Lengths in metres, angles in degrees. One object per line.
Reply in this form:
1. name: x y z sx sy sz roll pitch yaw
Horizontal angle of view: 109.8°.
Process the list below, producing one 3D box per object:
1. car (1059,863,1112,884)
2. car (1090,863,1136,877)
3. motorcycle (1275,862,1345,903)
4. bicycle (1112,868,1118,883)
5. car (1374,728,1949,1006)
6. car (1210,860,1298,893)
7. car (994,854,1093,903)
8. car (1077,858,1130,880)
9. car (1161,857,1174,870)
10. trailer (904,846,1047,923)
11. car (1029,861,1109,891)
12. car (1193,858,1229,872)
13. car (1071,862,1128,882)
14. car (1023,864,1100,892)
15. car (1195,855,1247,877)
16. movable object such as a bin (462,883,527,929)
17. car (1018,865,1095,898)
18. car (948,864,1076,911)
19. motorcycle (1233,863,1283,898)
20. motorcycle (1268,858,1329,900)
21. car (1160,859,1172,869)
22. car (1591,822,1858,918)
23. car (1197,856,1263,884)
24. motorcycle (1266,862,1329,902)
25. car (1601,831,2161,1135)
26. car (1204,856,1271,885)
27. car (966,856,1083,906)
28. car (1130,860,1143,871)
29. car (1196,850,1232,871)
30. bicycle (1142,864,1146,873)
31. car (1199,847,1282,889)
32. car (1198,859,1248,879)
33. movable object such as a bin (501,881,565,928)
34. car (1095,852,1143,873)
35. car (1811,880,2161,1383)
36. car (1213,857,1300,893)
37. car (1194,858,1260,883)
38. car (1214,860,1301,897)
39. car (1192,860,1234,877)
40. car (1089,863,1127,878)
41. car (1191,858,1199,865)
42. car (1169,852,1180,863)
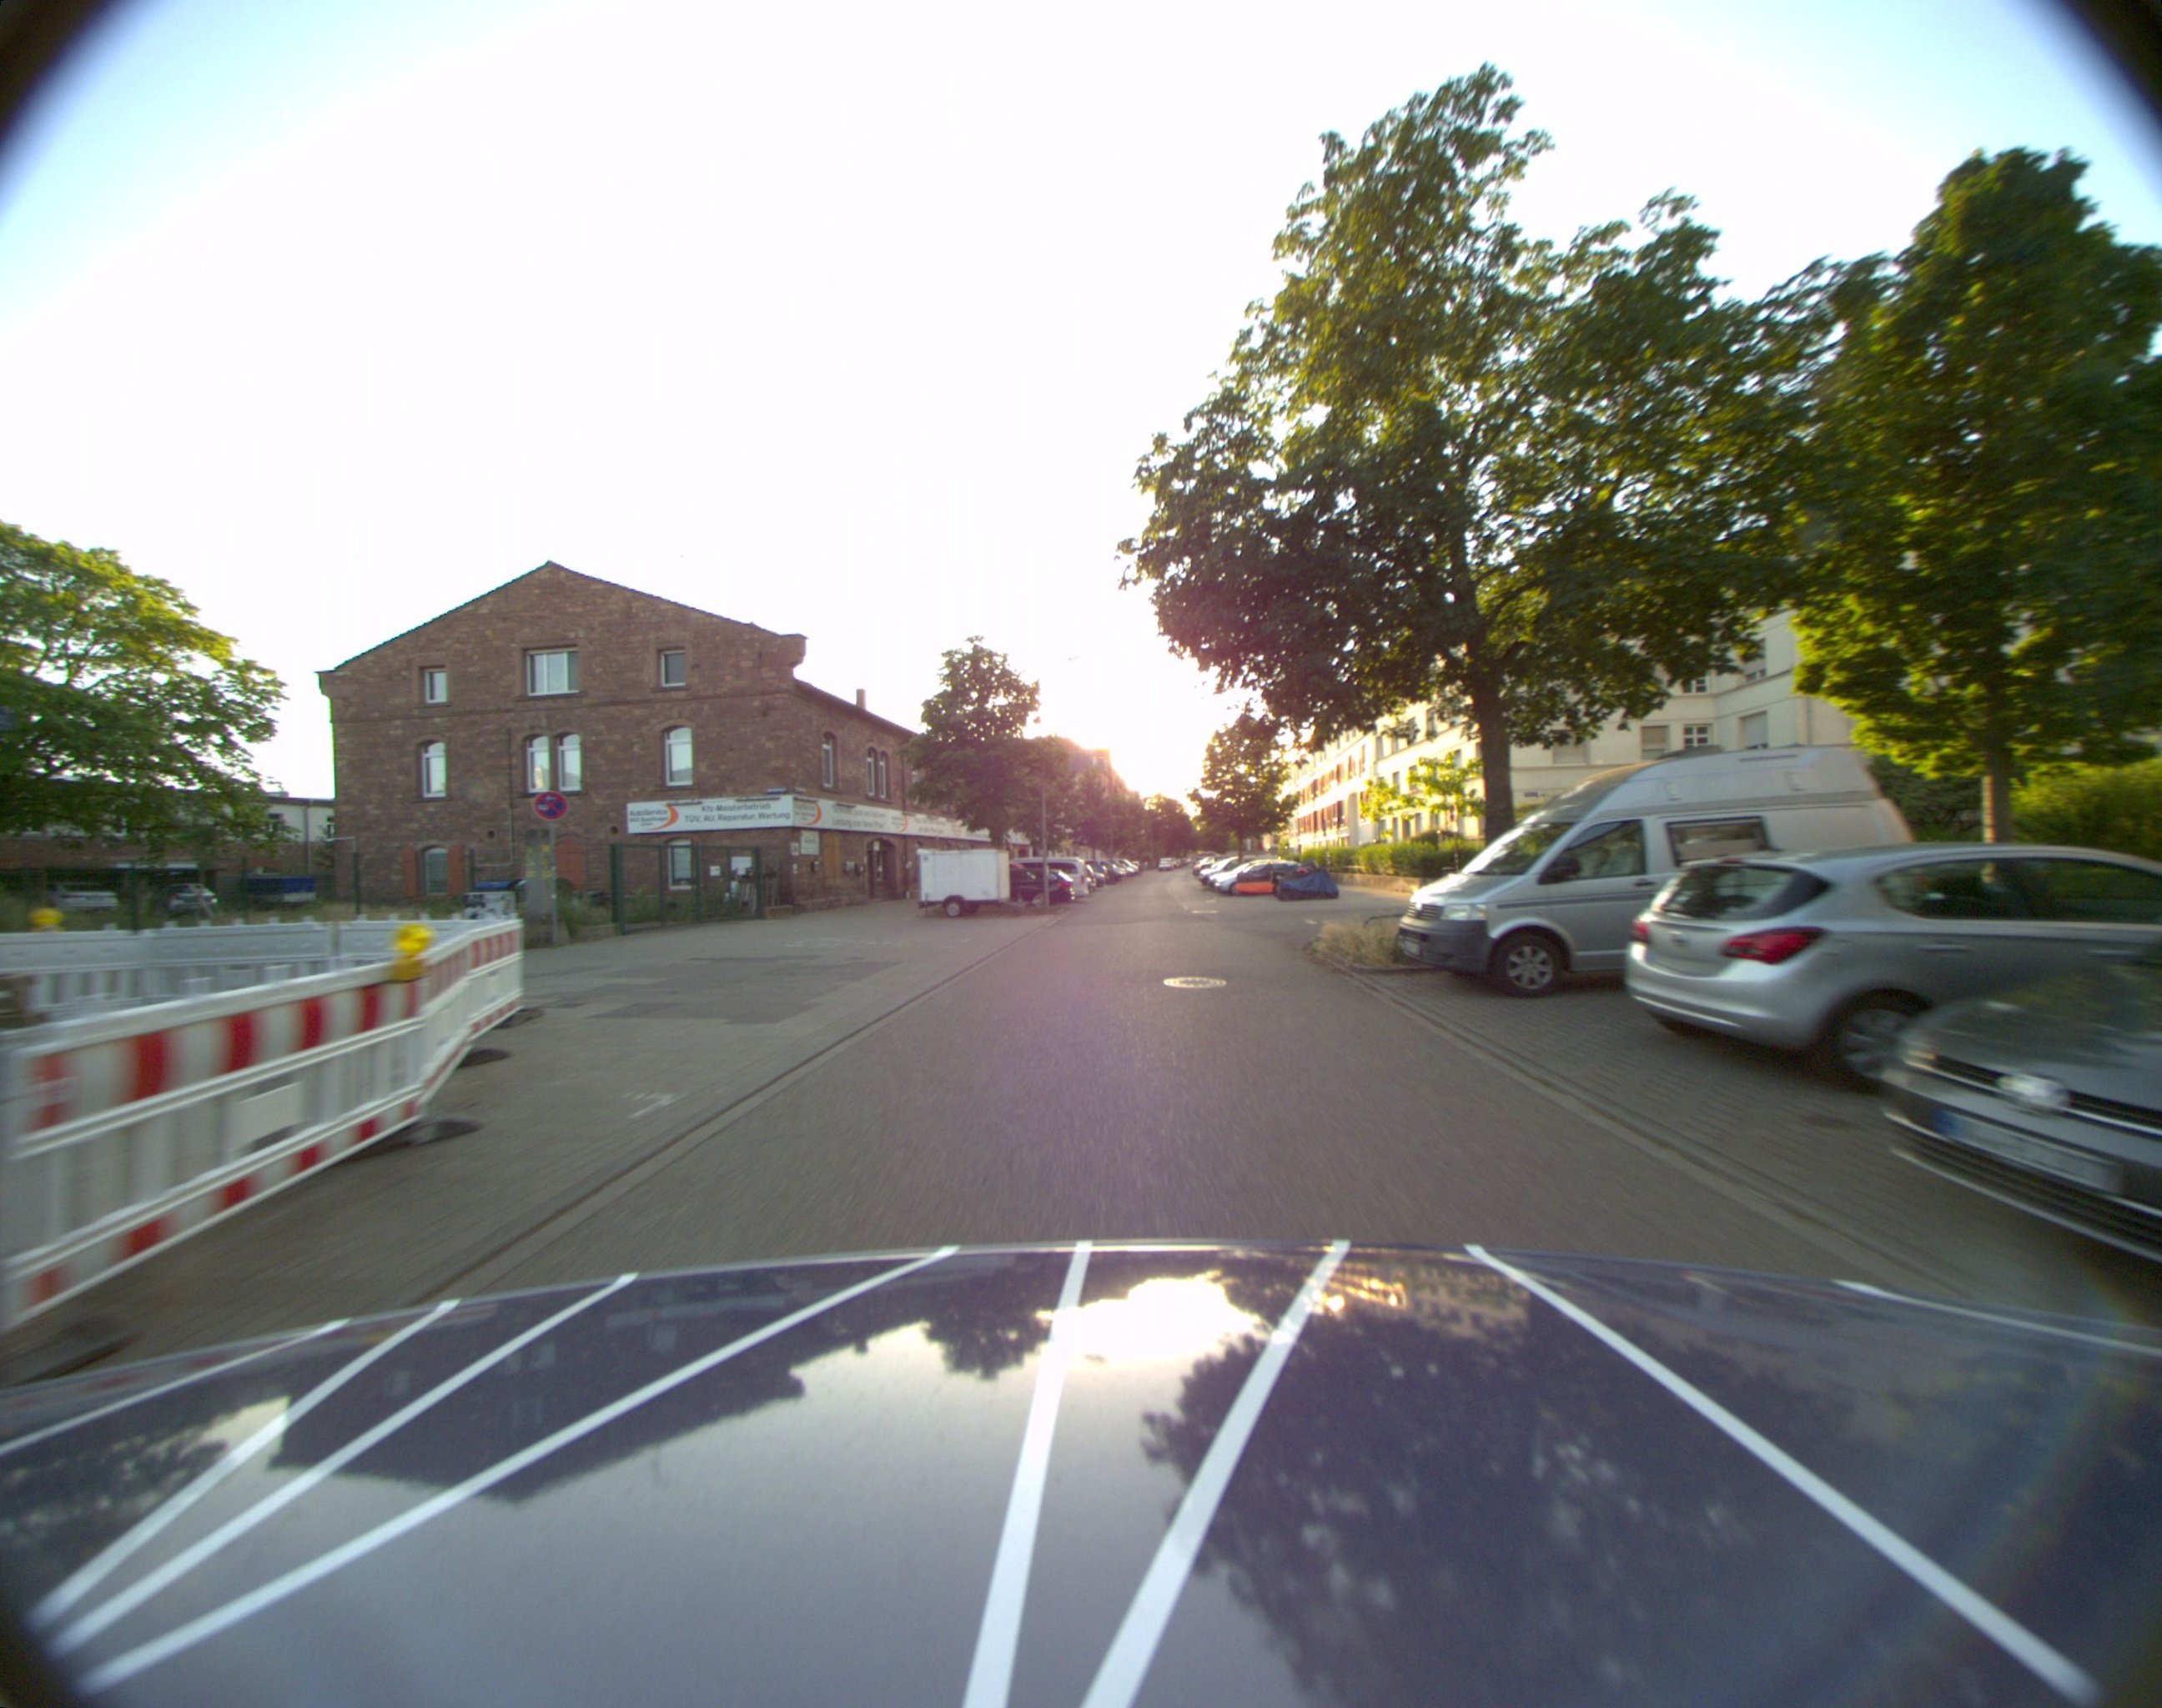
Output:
1. car: 0.370 1.547 61.244 3.994 1.537 1.846 1 0 7
2. car: 3.423 1.670 80.617 4.730 1.487 2.001 0 0 7
3. motorcycle: 8.586 1.071 28.631 2.387 1.428 0.882 -2 0 9
4. bicycle: 2.838 1.780 62.846 0.309 1.185 1.763 -2 0 7
5. car: 6.076 0.156 8.508 4.742 2.554 2.001 -2 0 3
6. car: 9.030 1.164 39.985 4.335 1.397 1.853 -4 -1 8
7. car: -1.584 1.040 33.082 3.995 1.892 2.001 -2 0 6
8. car: 2.117 1.393 70.881 4.595 1.851 2.013 2 1 9
9. car: 13.632 1.447 119.337 1.938 1.893 4.058 -2 0 7
10. trailer: -3.258 0.944 23.986 3.994 2.174 2.001 -2 0 8
11. car: -0.728 1.401 48.454 4.796 1.743 2.019 1 -1 6
12. car: 16.188 1.359 95.031 4.345 1.515 1.707 -3 0 8
13. car: 1.602 1.557 65.935 4.703 1.622 2.002 1 0 9
14. car: -1.143 1.419 45.738 4.423 1.565 1.983 1 -1 5
15. car: 13.444 1.150 72.912 4.863 2.042 2.002 -1 0 11
16. movable object such as a bin: -19.590 1.720 25.403 1.288 1.435 1.060 -2 0 9
17. car: -1.267 1.479 40.713 3.955 1.556 1.821 -2 0 3
18. car: -2.514 1.218 28.241 4.436 1.490 1.774 -2 0 6
19. motorcycle: 7.693 1.129 33.080 1.990 1.428 0.722 -2 0 2
20. motorcycle: 8.791 1.011 30.836 2.235 1.573 0.774 -2 0 9
21. car: 12.743 1.523 113.642 1.732 1.367 3.765 -2 0 7
22. car: 15.453 0.386 18.492 4.586 2.002 2.001 -2 0 5
23. car: 10.212 1.085 52.303 4.252 1.611 1.814 -4 -1 7
24. motorcycle: 8.419 1.081 29.643 2.235 1.428 0.774 -2 0 9
25. car: 6.004 0.721 5.072 3.812 1.513 1.653 -4 0 3
26. car: 10.182 1.065 49.609 3.995 1.475 1.757 -6 -1 6
27. car: -2.219 1.059 30.463 4.310 1.788 1.905 -2 0 6
28. car: 8.436 1.665 114.827 1.799 1.515 4.002 -2 0 7
29. car: 17.110 0.841 97.930 4.410 2.541 1.933 -2 0 9
30. bicycle: 7.682 1.754 92.596 0.357 1.093 1.973 -2 0 7
31. car: 9.358 0.836 44.750 4.521 2.057 2.002 -5 -2 10
32. car: 12.675 1.321 67.902 4.148 1.407 1.739 -4 0 4
33. movable object such as a bin: -18.155 1.653 25.205 1.262 1.435 1.098 -2 0 9
34. car: 4.327 0.988 86.147 4.968 2.089 2.152 -3 1 12
35. car: 5.304 0.763 2.344 4.253 1.386 1.685 -3 0 5
36. car: 8.533 1.019 37.215 3.994 1.574 1.730 -3 0 8
37. car: 10.486 1.166 54.678 4.418 1.443 1.828 -5 0 5
38. car: 7.993 1.114 34.666 3.720 1.497 1.691 -2 0 8
39. car: 13.865 1.531 79.947 3.997 1.579 2.053 -2 0 0
40. car: 2.751 1.654 78.071 3.792 1.488 1.682 0 0 6
41. car: 27.371 1.823 182.893 1.761 1.478 3.786 0 0 7
42. car: 17.184 0.668 139.588 1.997 2.002 4.002 -2 0 7
